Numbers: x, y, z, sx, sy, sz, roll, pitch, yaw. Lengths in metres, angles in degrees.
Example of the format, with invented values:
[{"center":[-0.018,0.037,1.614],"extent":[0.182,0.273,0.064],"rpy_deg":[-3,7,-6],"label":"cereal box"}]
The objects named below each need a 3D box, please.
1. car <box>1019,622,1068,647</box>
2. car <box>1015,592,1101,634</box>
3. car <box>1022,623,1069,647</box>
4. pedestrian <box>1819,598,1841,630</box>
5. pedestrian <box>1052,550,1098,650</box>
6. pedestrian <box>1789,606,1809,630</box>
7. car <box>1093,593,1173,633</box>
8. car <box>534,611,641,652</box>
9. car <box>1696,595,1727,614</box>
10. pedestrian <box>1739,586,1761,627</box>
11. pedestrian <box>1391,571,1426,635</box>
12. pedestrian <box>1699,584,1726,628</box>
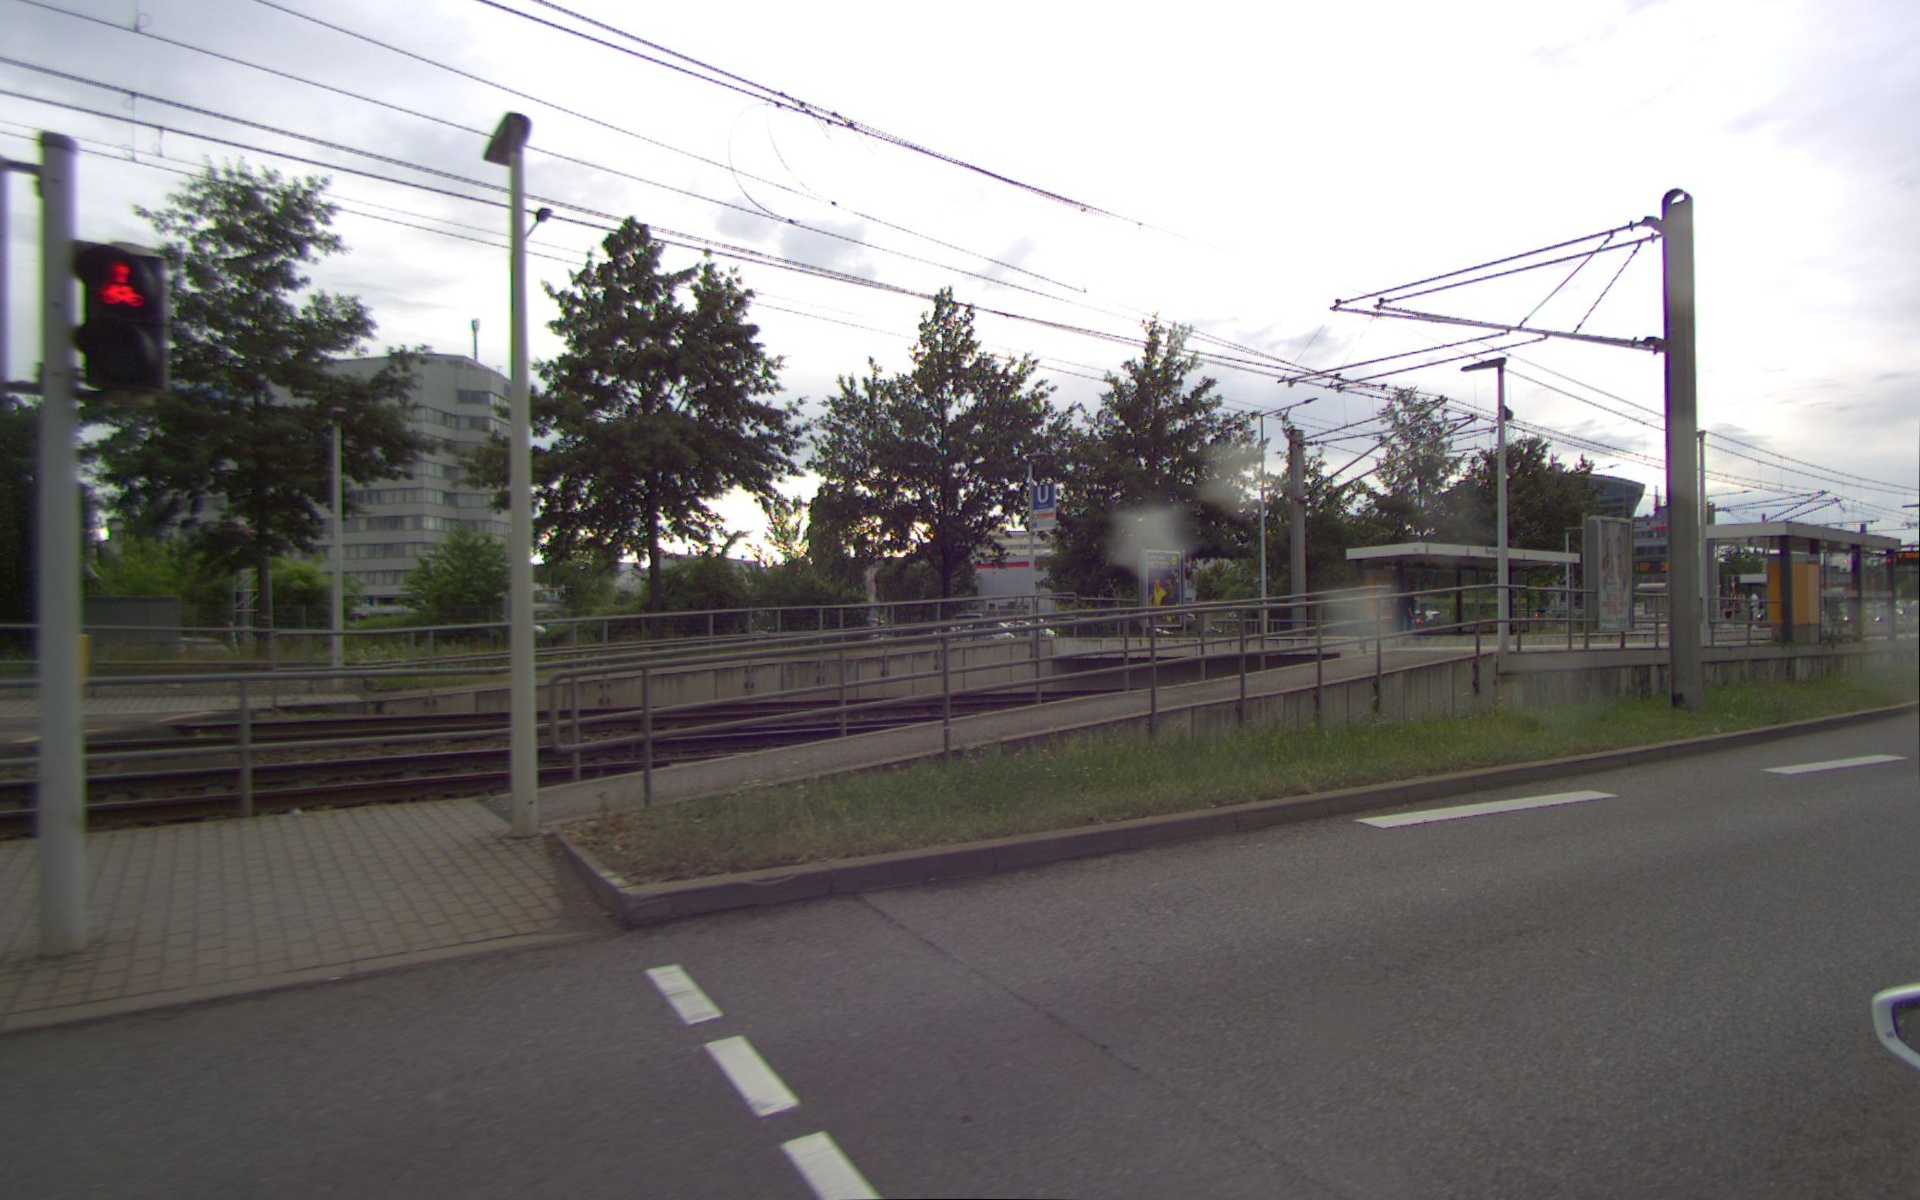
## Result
[{"center":[7.545,3.154,91.332],"extent":[3.934,2.040,1.994],"rpy_deg":[4,-2,-15],"label":"car"},{"center":[4.990,0.653,50.956],"extent":[3.957,2.040,1.982],"rpy_deg":[1,0,-33],"label":"car"},{"center":[8.171,3.335,95.679],"extent":[3.934,2.040,1.994],"rpy_deg":[4,-2,-15],"label":"car"},{"center":[48.598,0.782,56.101],"extent":[0.756,1.774,0.747],"rpy_deg":[4,-2,-35],"label":"pedestrian"},{"center":[2.341,0.004,20.455],"extent":[0.658,1.978,0.544],"rpy_deg":[4,-2,-39],"label":"pedestrian"},{"center":[46.098,0.998,55.188],"extent":[0.725,1.269,0.721],"rpy_deg":[2,-1,-37],"label":"pedestrian"},{"center":[9.320,0.699,53.950],"extent":[3.957,2.040,1.982],"rpy_deg":[1,0,-33],"label":"car"},{"center":[-14.554,1.263,39.464],"extent":[1.960,1.433,4.003],"rpy_deg":[3,-2,14],"label":"car"},{"center":[87.945,0.554,117.590],"extent":[1.962,2.040,3.999],"rpy_deg":[2,-2,23],"label":"car"},{"center":[40.520,0.321,51.509],"extent":[0.706,2.108,0.685],"rpy_deg":[0,0,-30],"label":"pedestrian"},{"center":[13.688,0.099,30.649],"extent":[0.744,1.878,0.633],"rpy_deg":[4,-2,-36],"label":"pedestrian"},{"center":[36.536,0.281,48.756],"extent":[1.035,2.040,0.846],"rpy_deg":[4,-2,-45],"label":"pedestrian"}]
